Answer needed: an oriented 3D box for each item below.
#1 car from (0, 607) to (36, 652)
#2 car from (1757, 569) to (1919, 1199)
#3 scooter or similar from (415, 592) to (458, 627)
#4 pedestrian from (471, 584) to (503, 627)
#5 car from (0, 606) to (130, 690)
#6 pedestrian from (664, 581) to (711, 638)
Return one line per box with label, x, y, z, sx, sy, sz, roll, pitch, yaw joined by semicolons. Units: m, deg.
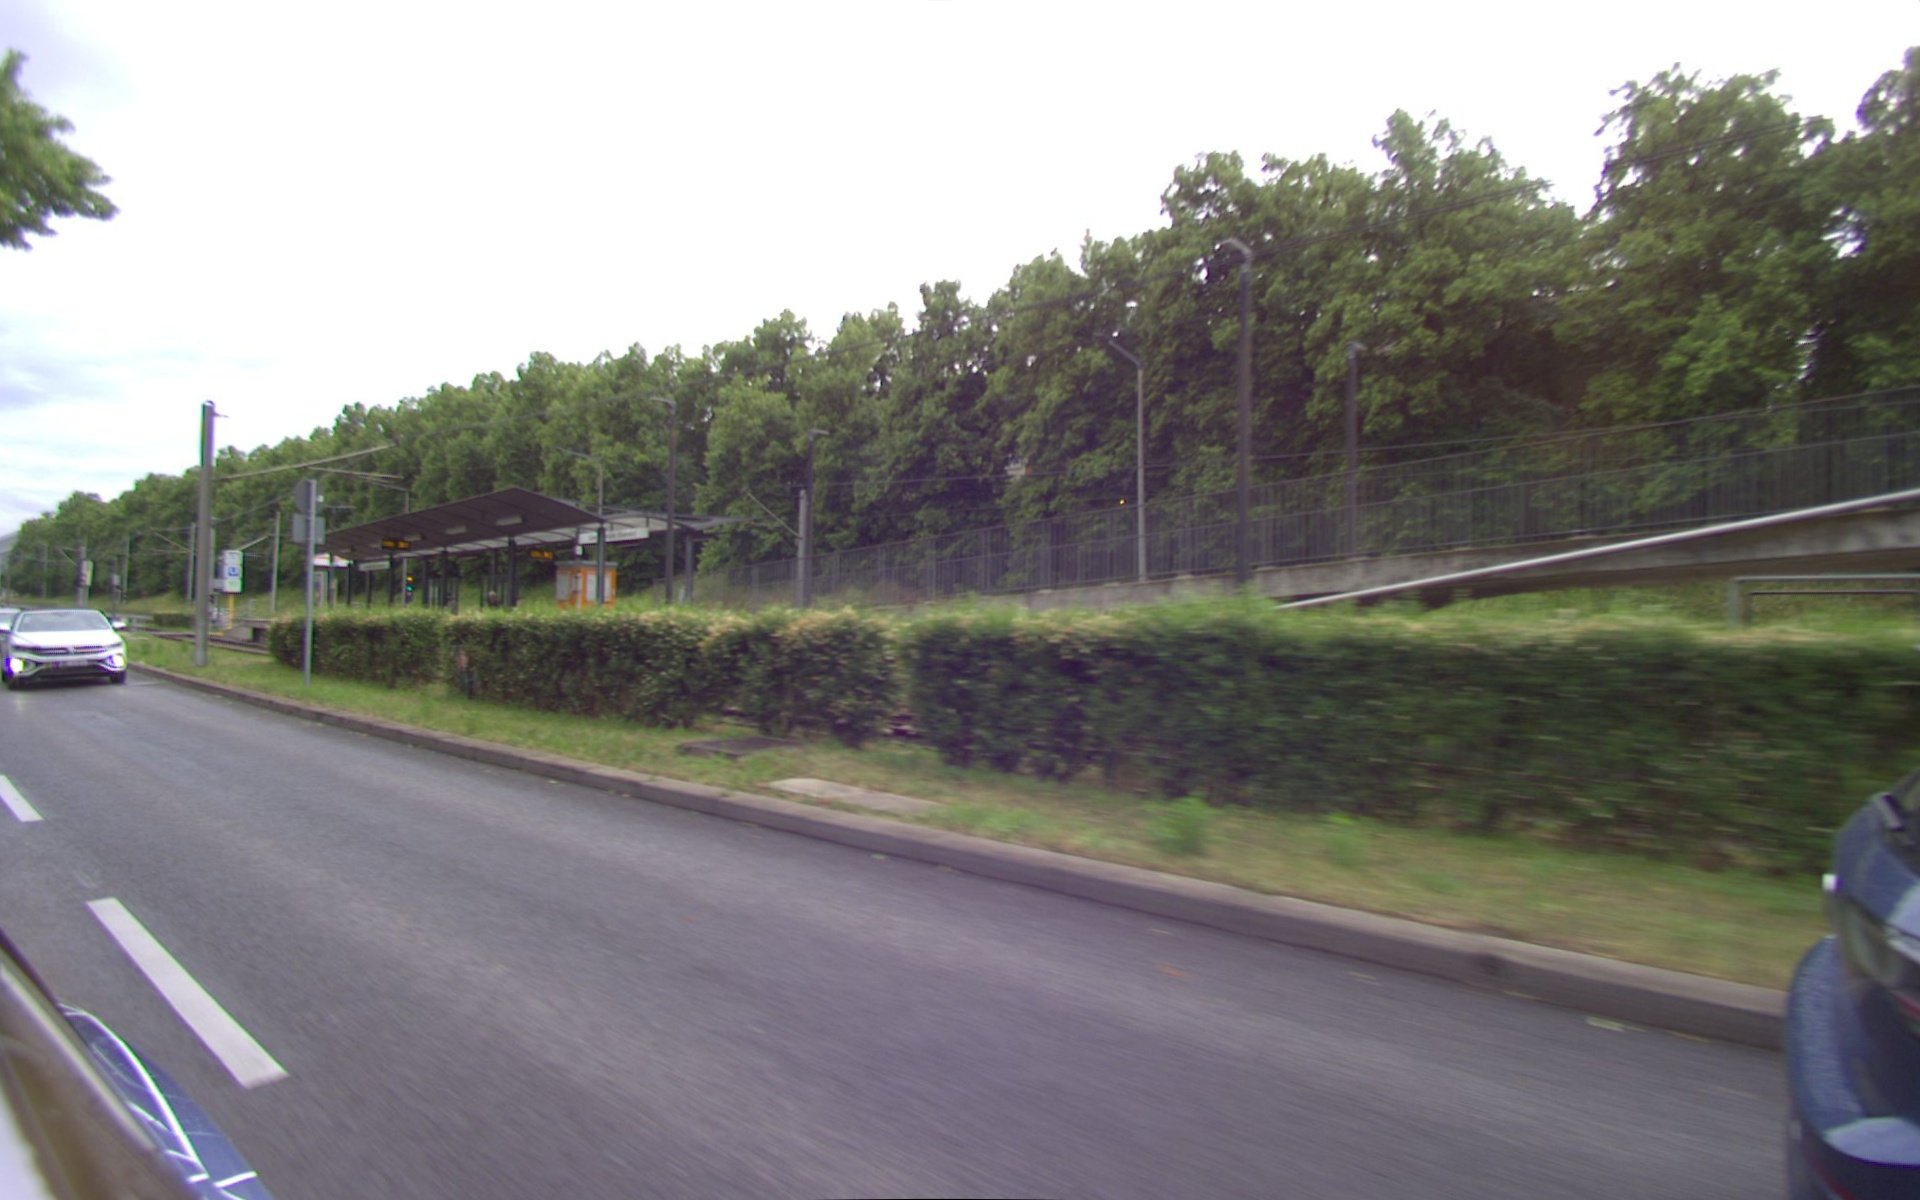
car;-34.301;1.028;35.964;4.702;1.492;1.933;0;1;45
car;3.321;0.639;0.641;4.345;1.389;1.789;-1;0;41
scooter or similar;-18.352;0.333;35.474;1.282;1.227;0.380;0;1;-1
pedestrian;-15.464;0.177;33.103;0.692;1.366;0.745;0;-1;42
car;-18.436;0.885;20.661;1.932;1.476;4.703;-1;1;-44
pedestrian;-7.965;0.281;29.577;1.027;1.623;0.924;0;-1;45
